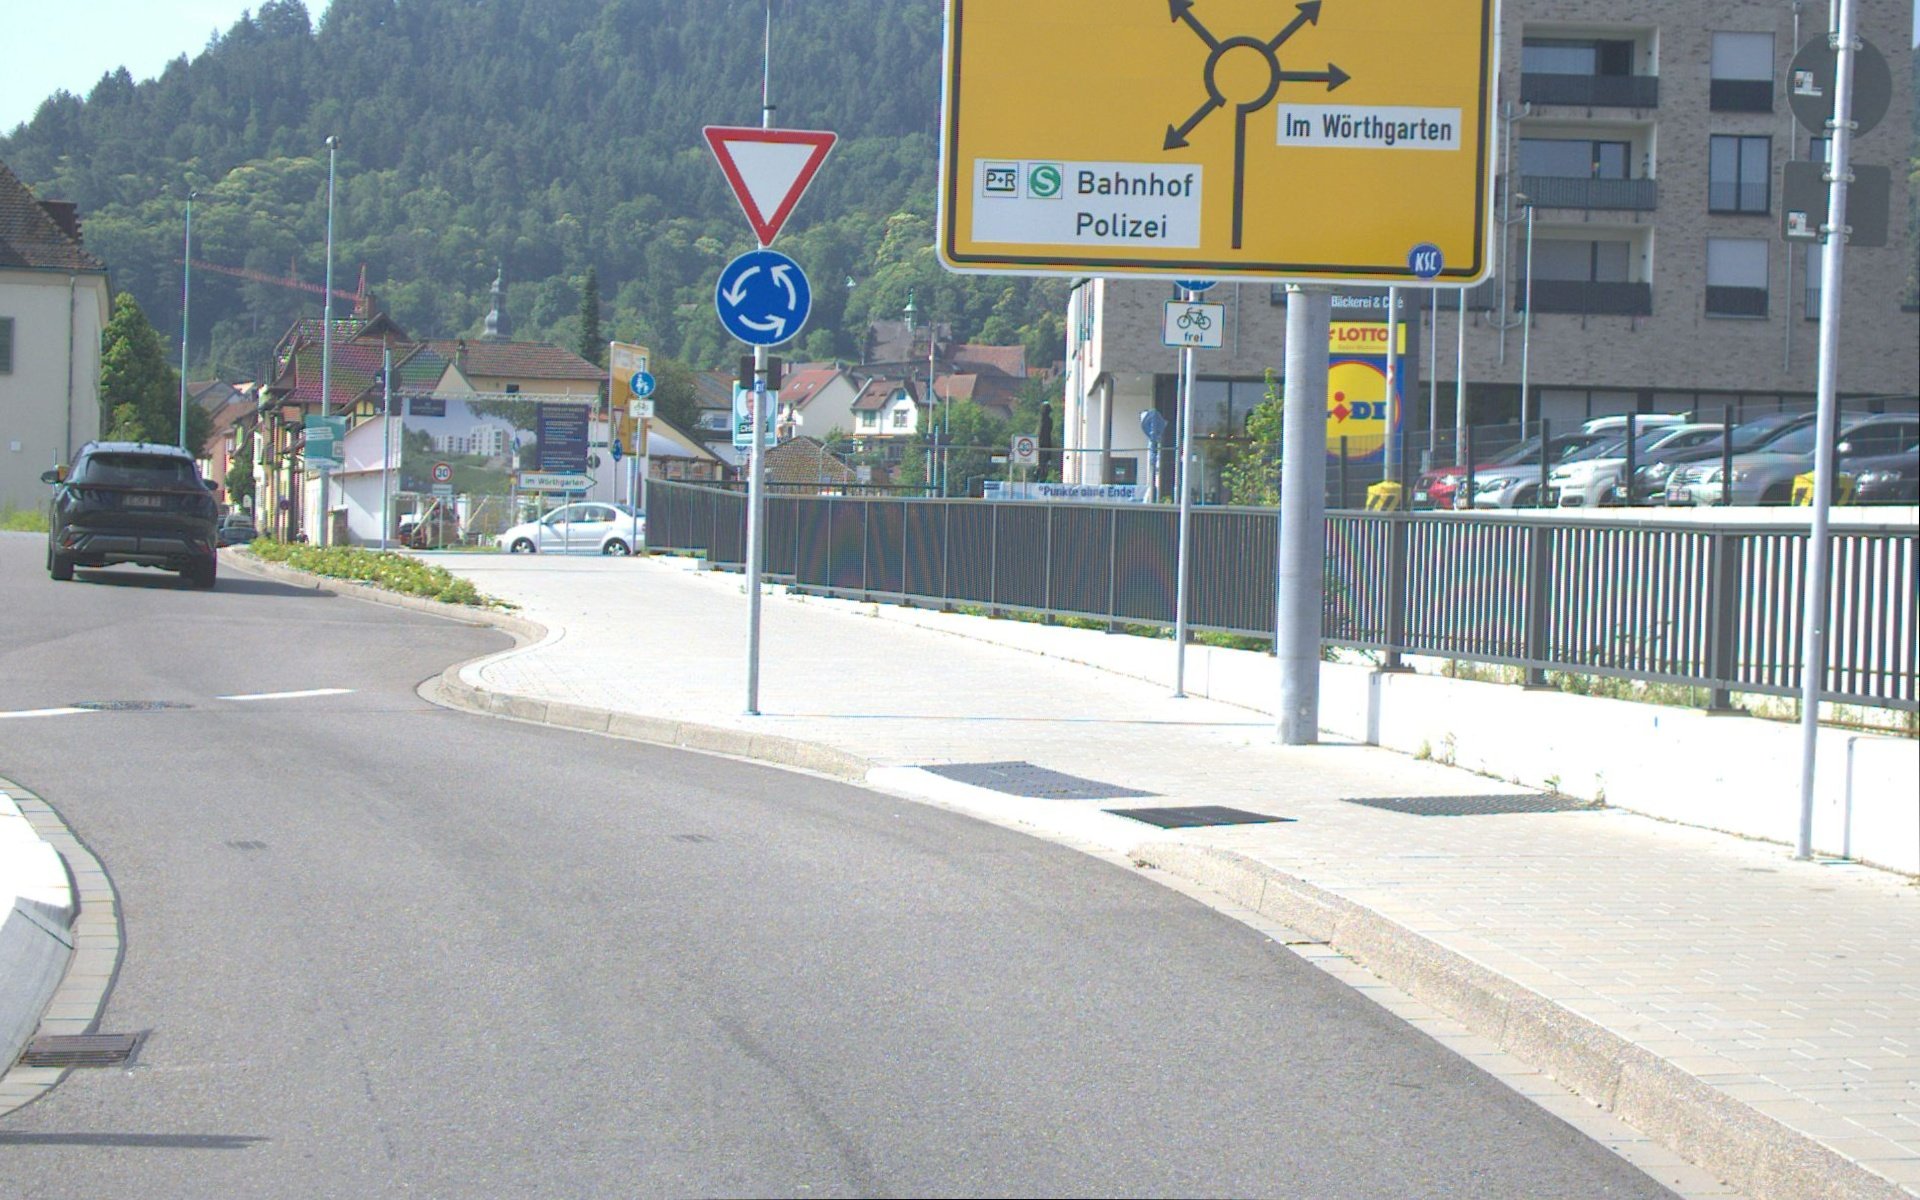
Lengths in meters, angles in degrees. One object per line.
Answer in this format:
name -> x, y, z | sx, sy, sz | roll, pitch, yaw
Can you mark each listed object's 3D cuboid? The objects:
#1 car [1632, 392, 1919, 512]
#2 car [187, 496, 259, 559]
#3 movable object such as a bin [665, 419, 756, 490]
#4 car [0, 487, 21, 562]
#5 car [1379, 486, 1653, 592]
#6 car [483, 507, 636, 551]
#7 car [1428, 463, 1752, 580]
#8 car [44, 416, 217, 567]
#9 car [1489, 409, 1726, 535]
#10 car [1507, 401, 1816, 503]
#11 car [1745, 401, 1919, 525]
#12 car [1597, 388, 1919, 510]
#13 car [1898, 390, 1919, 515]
car -> 10.089, -1.668, 39.592 | 4.277, 1.241, 1.665 | 1, 2, -13
car -> -24.392, -2.377, 113.667 | 1.993, 2.007, 4.001 | 1, 1, -17
movable object such as a bin -> -6.809, -3.966, 93.806 | 2.443, 1.837, 1.429 | 1, 1, -4
car -> -27.165, -2.045, 91.780 | 1.996, 2.007, 3.995 | 1, 1, 22
car -> 8.164, -0.905, 50.587 | 3.554, 1.425, 1.711 | 1, 2, -13
car -> -9.309, -1.655, 79.935 | 3.272, 0.961, 1.349 | 1, 1, 20
car -> 8.777, -1.093, 47.996 | 4.055, 1.482, 1.717 | 2, 2, -10
car -> -9.931, -1.255, 40.986 | 1.880, 1.678, 4.001 | 1, 1, -15
car -> 11.433, -2.260, 60.940 | 3.988, 2.128, 1.999 | 1, 1, 8
car -> 9.215, -1.933, 45.245 | 3.554, 1.195, 1.715 | 1, 2, -13
car -> 10.659, -1.417, 36.865 | 3.965, 1.241, 1.730 | 1, 2, -13
car -> 10.059, -1.836, 42.187 | 4.035, 1.338, 1.661 | 1, 2, -13
car -> 11.686, -1.400, 34.128 | 4.212, 1.241, 1.745 | 1, 2, -13
